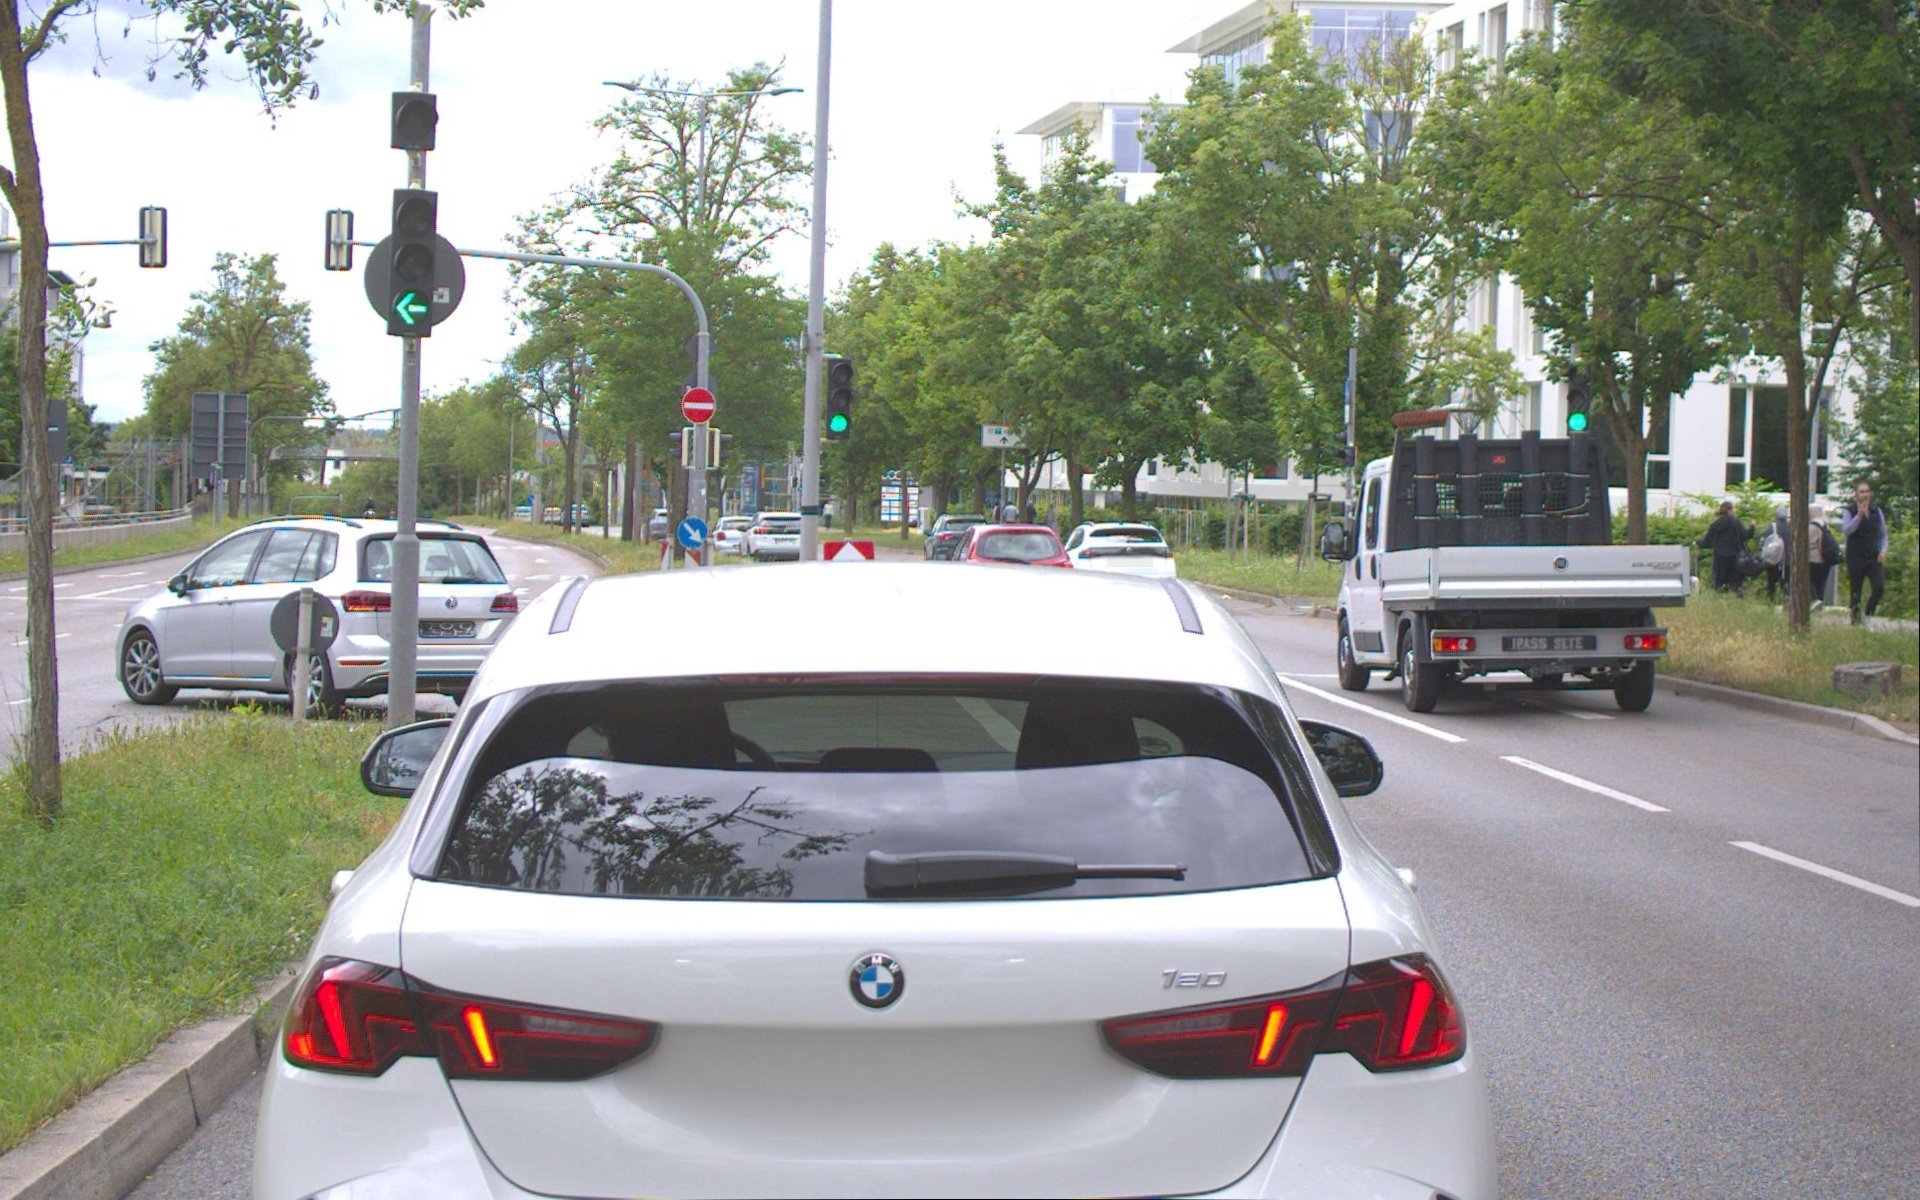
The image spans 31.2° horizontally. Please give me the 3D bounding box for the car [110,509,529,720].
[{"bbox_3d":[-5.282,0.073,28.029,1.550,1.563,3.999,0,1,-40],"label":"car"}]

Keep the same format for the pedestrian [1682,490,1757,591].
[{"bbox_3d":[11.008,-0.858,49.866,0.789,1.443,1.112,1,1,-1],"label":"pedestrian"}]

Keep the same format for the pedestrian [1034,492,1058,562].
[{"bbox_3d":[3.246,-2.733,129.328,0.831,2.618,0.646,1,1,0],"label":"pedestrian"}]

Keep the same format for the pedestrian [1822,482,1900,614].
[{"bbox_3d":[10.891,-0.626,41.570,0.741,1.568,0.674,1,0,-1],"label":"pedestrian"}]

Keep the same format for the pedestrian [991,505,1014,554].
[{"bbox_3d":[1.753,-2.902,142.043,0.762,2.007,0.754,1,1,-15],"label":"pedestrian"}]

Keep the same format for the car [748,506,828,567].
[{"bbox_3d":[-4.637,-1.703,92.228,1.854,1.590,4.315,0,1,-7],"label":"car"}]

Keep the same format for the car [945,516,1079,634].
[{"bbox_3d":[0.673,-0.366,47.005,1.716,1.553,3.858,0,1,-1],"label":"car"}]

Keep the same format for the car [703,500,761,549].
[{"bbox_3d":[-7.033,-2.322,105.834,1.605,1.463,3.676,1,1,-6],"label":"car"}]

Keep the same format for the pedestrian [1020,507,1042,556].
[{"bbox_3d":[2.886,-2.792,140.151,0.848,2.007,0.605,1,1,-1],"label":"pedestrian"}]

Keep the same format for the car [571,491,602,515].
[{"bbox_3d":[-26.720,-6.949,245.757,1.993,1.664,4.001,-1,1,-9],"label":"car"}]

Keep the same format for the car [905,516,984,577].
[{"bbox_3d":[-0.431,-1.413,92.379,1.657,1.507,4.001,1,-1,-7],"label":"car"}]

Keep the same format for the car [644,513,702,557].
[{"bbox_3d":[-10.973,-2.488,131.304,1.891,1.590,4.315,1,1,-8],"label":"car"}]

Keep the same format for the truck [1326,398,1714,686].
[{"bbox_3d":[4.645,-0.512,29.527,2.211,2.196,5.845,1,1,-1],"label":"truck"}]

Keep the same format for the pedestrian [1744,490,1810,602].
[{"bbox_3d":[11.778,-0.781,49.564,0.699,1.590,0.883,1,1,-1],"label":"pedestrian"}]

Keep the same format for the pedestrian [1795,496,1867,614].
[{"bbox_3d":[12.557,-0.646,49.589,0.767,1.679,0.883,1,1,-1],"label":"pedestrian"}]

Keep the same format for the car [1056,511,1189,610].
[{"bbox_3d":[2.609,-0.665,56.103,1.715,1.550,4.090,1,1,-4],"label":"car"}]

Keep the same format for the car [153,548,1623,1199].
[{"bbox_3d":[-0.115,0.653,6.305,1.822,1.433,4.000,1,1,-1],"label":"car"}]
